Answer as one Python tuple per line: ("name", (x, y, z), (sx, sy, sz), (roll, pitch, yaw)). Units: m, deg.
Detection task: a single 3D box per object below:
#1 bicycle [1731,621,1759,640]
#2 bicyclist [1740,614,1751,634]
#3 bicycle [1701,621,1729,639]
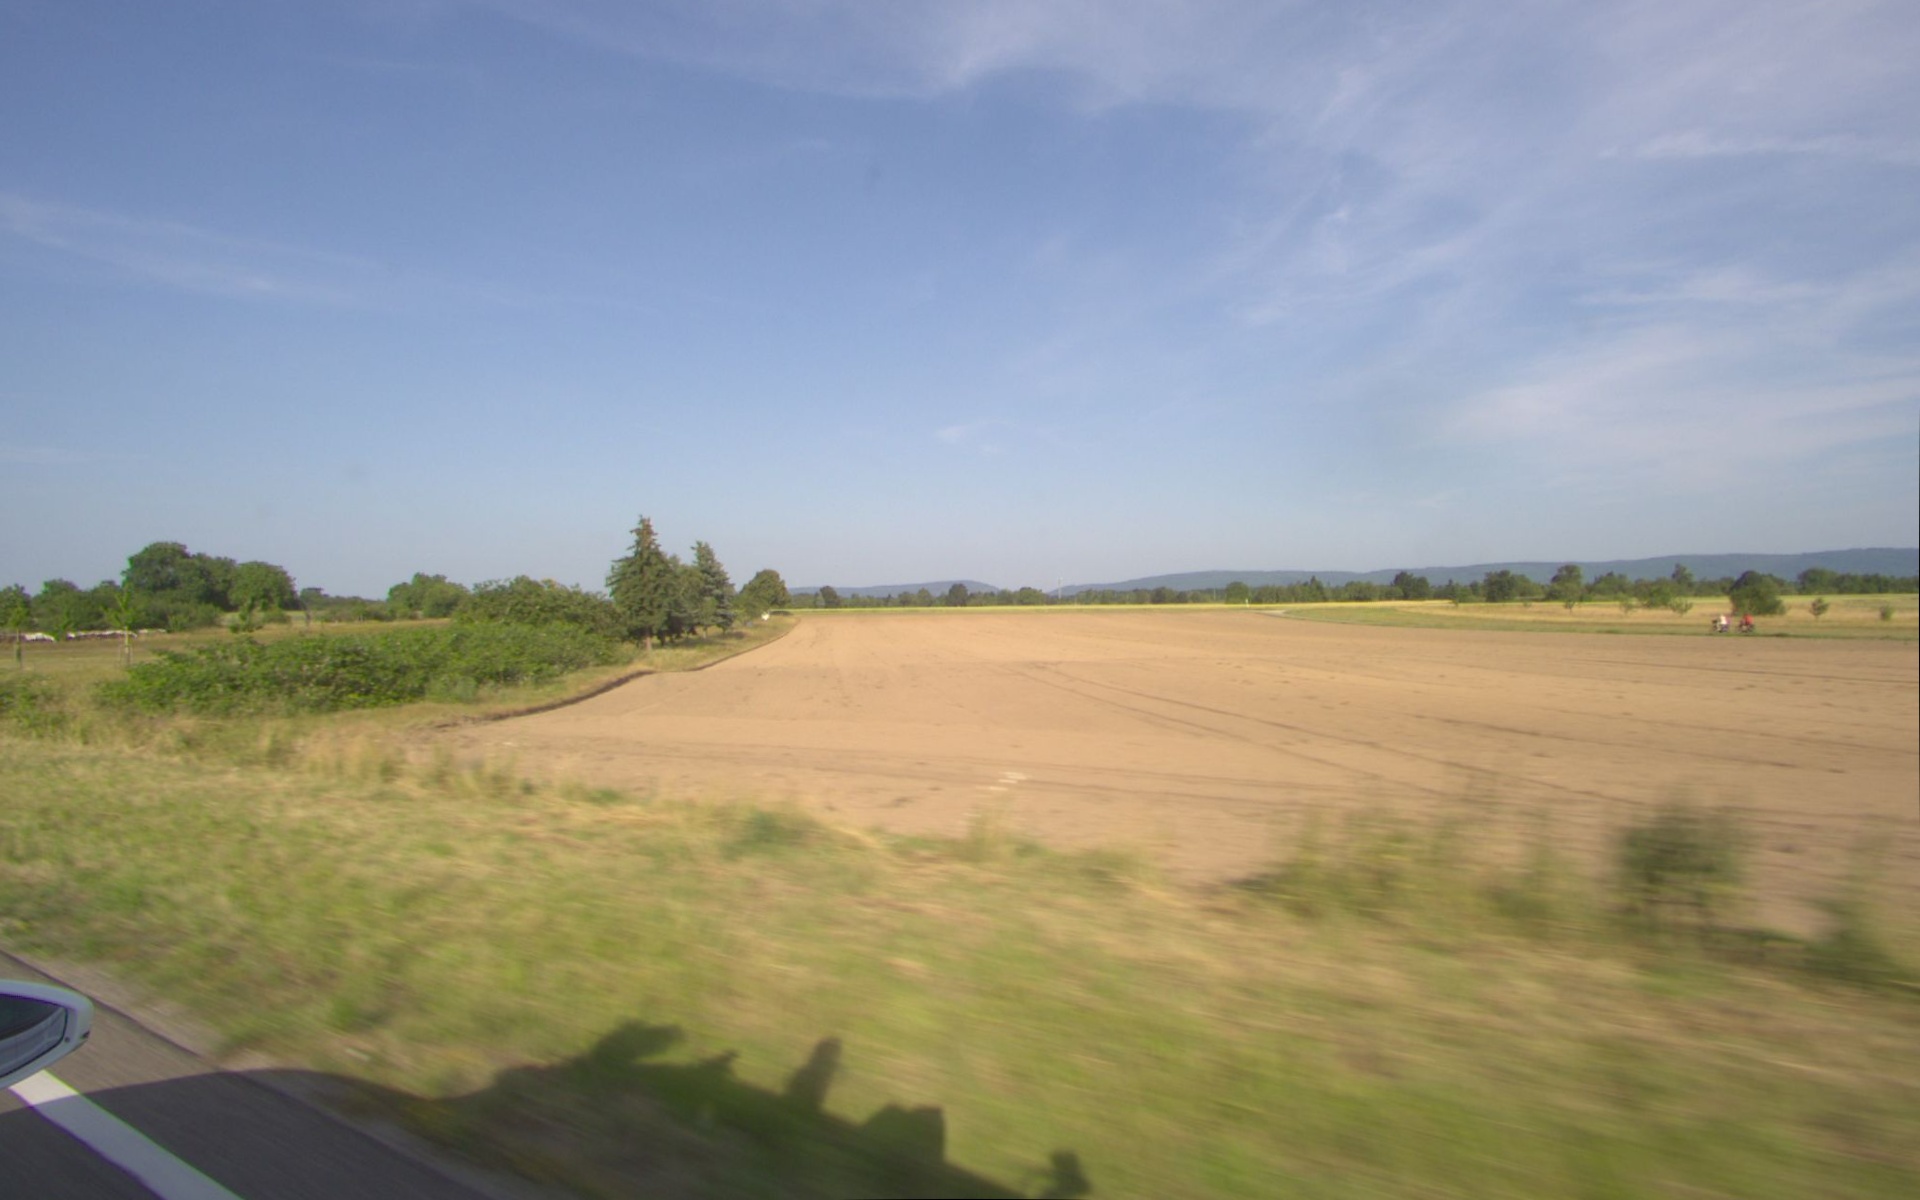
("bicycle", (64.907, 2.513, 82.810), (0.494, 1.550, 1.975), (0, -2, -14))
("bicyclist", (64.914, 1.981, 82.781), (0.479, 1.617, 0.550), (0, -1, -15))
("bicycle", (63.422, 2.539, 84.092), (0.494, 1.550, 1.975), (0, -2, -14))
